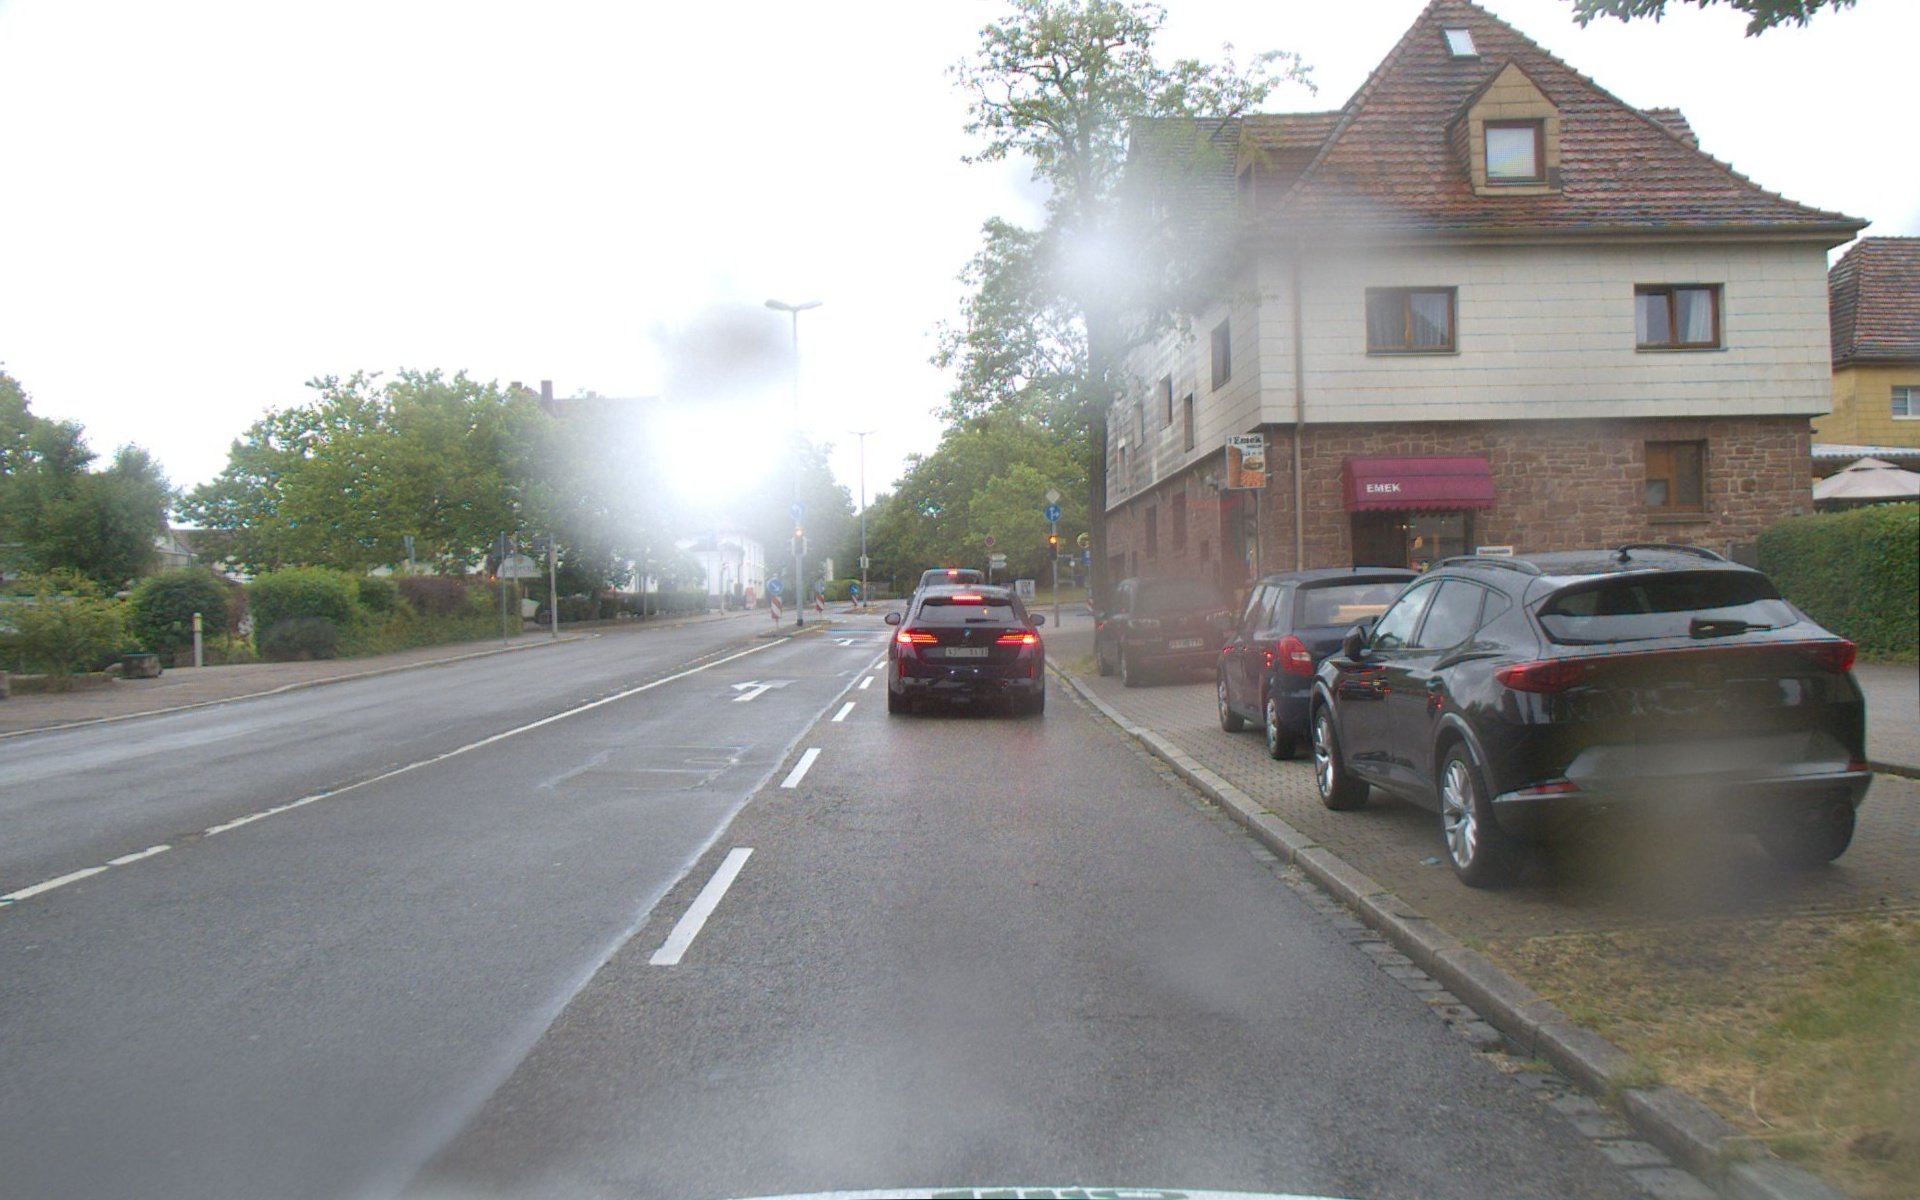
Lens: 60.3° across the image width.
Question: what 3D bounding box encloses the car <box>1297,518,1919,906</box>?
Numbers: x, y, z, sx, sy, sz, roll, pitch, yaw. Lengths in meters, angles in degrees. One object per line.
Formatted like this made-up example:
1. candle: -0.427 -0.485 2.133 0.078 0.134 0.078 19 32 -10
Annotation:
1. car: 3.156 0.459 9.006 1.679 1.525 4.183 -3 0 -1

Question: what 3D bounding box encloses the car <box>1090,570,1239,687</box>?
1. car: 2.945 0.369 24.508 1.552 1.516 3.626 -3 1 -2

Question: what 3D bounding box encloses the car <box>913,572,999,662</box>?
1. car: -0.146 0.336 36.091 1.748 1.849 3.998 0 0 -2

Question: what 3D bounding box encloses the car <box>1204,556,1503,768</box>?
1. car: 3.246 0.454 14.380 1.572 1.497 3.856 -4 0 -1

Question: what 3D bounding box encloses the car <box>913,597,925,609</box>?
1. car: -5.097 0.357 206.036 1.435 1.422 3.321 0 0 -1

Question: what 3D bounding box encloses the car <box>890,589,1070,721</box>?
1. car: 0.139 0.625 20.914 2.023 1.472 4.481 1 0 -2
